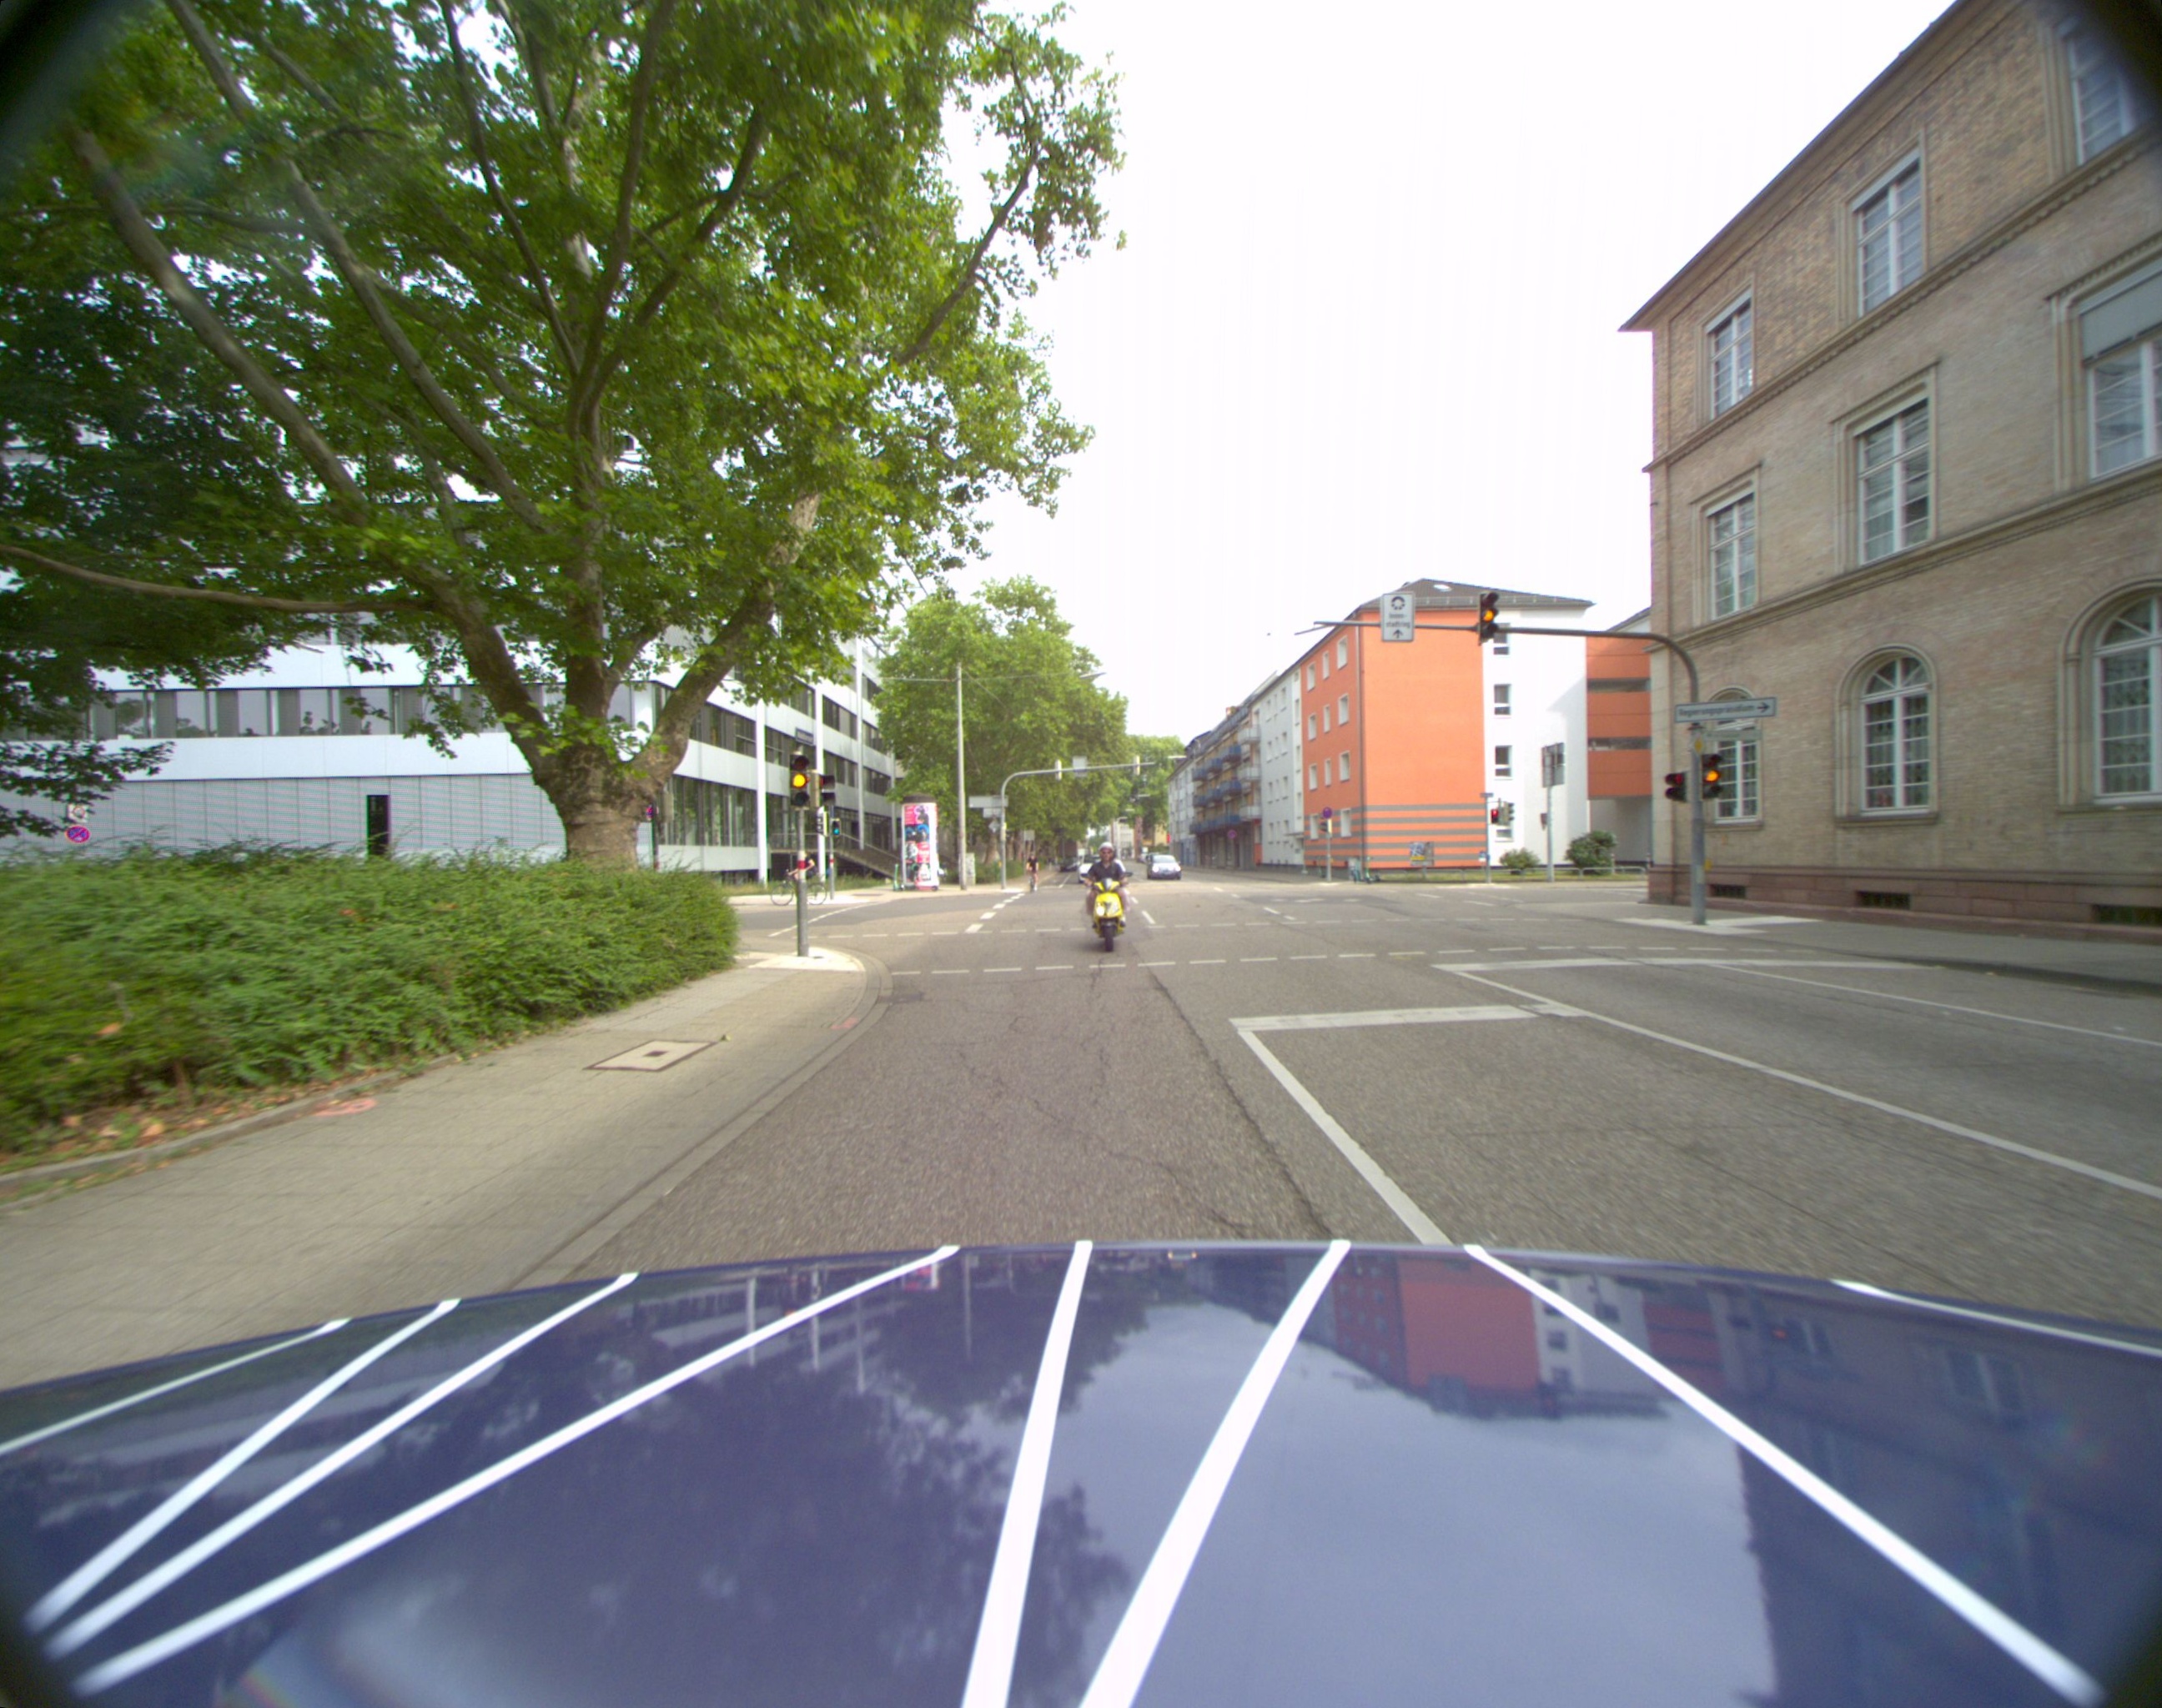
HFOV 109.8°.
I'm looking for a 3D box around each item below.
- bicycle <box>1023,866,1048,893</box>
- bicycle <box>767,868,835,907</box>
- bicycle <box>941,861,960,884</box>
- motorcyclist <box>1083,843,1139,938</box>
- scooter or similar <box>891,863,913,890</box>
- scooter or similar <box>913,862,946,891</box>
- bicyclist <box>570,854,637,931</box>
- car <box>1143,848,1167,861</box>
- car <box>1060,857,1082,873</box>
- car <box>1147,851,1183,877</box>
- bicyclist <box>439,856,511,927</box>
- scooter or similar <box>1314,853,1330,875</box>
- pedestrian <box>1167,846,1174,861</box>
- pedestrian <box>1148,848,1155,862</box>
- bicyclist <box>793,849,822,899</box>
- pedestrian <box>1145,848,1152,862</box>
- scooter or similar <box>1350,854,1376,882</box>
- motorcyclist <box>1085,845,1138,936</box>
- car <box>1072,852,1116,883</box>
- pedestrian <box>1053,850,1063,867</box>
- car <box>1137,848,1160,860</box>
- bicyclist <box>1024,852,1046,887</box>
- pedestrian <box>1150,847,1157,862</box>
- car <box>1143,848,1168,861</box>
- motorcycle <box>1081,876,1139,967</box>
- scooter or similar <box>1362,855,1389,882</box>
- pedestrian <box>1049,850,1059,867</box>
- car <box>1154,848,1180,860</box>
[{"bbox_3d":[-1.880,1.042,31.815,0.771,1.009,2.407,-4,0,1],"label":"bicycle"},{"bbox_3d":[-9.261,1.110,25.138,2.006,1.124,0.772,-4,0,-22],"label":"bicycle"},{"bbox_3d":[-7.050,1.002,41.107,0.700,1.162,1.725,-3,0,1],"label":"bicycle"},{"bbox_3d":[0.472,0.548,11.882,0.781,1.419,0.764,-2,2,3],"label":"motorcyclist"},{"bbox_3d":[-7.612,0.947,32.270,0.473,1.131,1.307,0,1,-33],"label":"scooter or similar"},{"bbox_3d":[-6.430,0.951,32.264,1.309,1.202,0.344,1,1,5],"label":"scooter or similar"},{"bbox_3d":[-10.939,0.863,17.437,0.831,1.669,0.916,-1,2,5],"label":"bicyclist"},{"bbox_3d":[12.883,0.066,132.471,3.997,2.002,2.000,-3,0,0],"label":"car"},{"bbox_3d":[-1.034,1.144,82.009,1.998,1.532,4.272,-3,0,2],"label":"car"},{"bbox_3d":[4.897,0.568,44.786,1.673,1.430,3.820,-1,0,0],"label":"car"},{"bbox_3d":[-14.023,0.849,17.597,0.831,1.568,0.916,-1,2,5],"label":"bicyclist"},{"bbox_3d":[12.578,0.534,39.685,0.369,1.117,1.354,-3,0,1],"label":"scooter or similar"},{"bbox_3d":[12.218,-0.009,104.168,0.842,2.002,0.875,-3,0,5],"label":"pedestrian"},{"bbox_3d":[9.939,0.111,107.513,0.842,2.002,0.875,-3,0,5],"label":"pedestrian"},{"bbox_3d":[-9.077,0.658,25.227,0.802,1.574,0.772,-4,0,-21],"label":"bicyclist"},{"bbox_3d":[9.454,0.134,105.989,0.842,2.002,0.875,-3,0,5],"label":"pedestrian"},{"bbox_3d":[12.234,0.621,33.032,0.330,1.172,1.341,-3,0,-13],"label":"scooter or similar"},{"bbox_3d":[0.506,0.573,12.371,0.781,1.419,0.688,-2,2,3],"label":"motorcyclist"},{"bbox_3d":[0.797,0.697,42.280,1.998,1.543,4.523,-3,0,6],"label":"car"},{"bbox_3d":[-2.806,0.539,91.820,1.003,2.002,0.997,-3,0,2],"label":"pedestrian"},{"bbox_3d":[12.515,-0.066,141.567,3.997,2.002,2.000,-3,0,0],"label":"car"},{"bbox_3d":[-1.917,0.644,32.100,0.784,1.438,0.914,-3,0,1],"label":"bicyclist"},{"bbox_3d":[10.195,0.097,106.679,0.842,2.002,0.875,-3,0,5],"label":"pedestrian"},{"bbox_3d":[12.738,0.138,129.871,3.997,2.002,2.000,-3,0,0],"label":"car"},{"bbox_3d":[0.464,0.997,11.805,0.781,1.171,1.992,-2,1,3],"label":"motorcycle"},{"bbox_3d":[12.879,0.619,33.243,0.330,1.151,1.352,-3,0,-13],"label":"scooter or similar"},{"bbox_3d":[-3.295,0.546,91.832,1.003,2.002,0.997,-3,0,2],"label":"pedestrian"},{"bbox_3d":[14.121,-0.001,124.757,3.870,1.678,1.882,-3,0,0],"label":"car"}]
